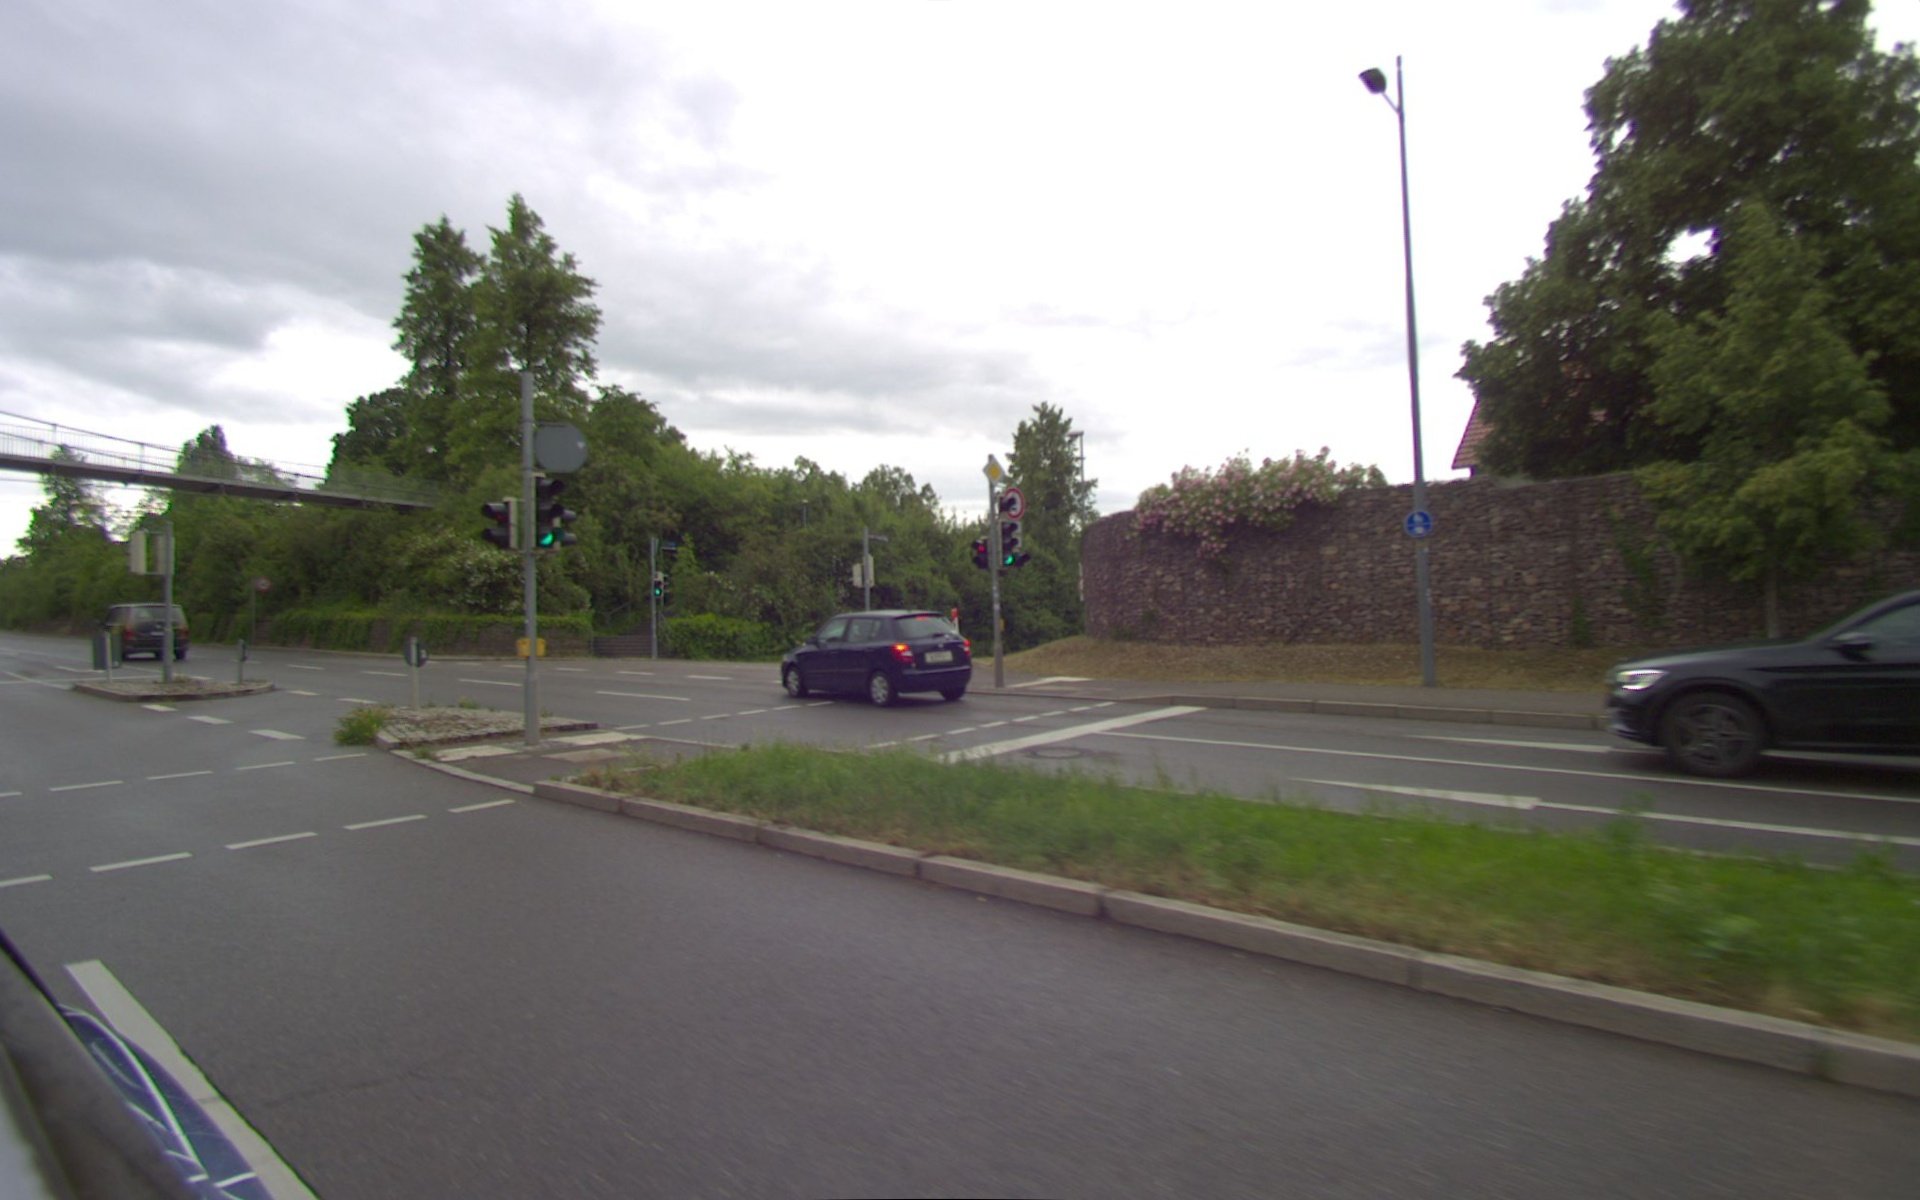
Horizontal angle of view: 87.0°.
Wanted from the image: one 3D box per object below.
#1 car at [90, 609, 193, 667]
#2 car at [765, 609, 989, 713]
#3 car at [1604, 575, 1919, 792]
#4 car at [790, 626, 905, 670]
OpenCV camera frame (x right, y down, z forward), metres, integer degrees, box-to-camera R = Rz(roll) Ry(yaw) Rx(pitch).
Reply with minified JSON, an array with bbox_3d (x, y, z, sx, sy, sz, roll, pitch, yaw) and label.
[{"bbox_3d":[-29.250,1.321,36.108,5.092,1.934,1.993,-1,-1,41],"label":"car"},{"bbox_3d":[-1.482,0.935,16.804,1.579,1.501,4.004,0,-1,-43],"label":"car"},{"bbox_3d":[7.992,0.601,7.948,4.761,1.607,1.863,-1,0,39],"label":"car"},{"bbox_3d":[-4.028,1.743,36.553,3.940,1.484,1.693,2,-5,-44],"label":"car"}]
